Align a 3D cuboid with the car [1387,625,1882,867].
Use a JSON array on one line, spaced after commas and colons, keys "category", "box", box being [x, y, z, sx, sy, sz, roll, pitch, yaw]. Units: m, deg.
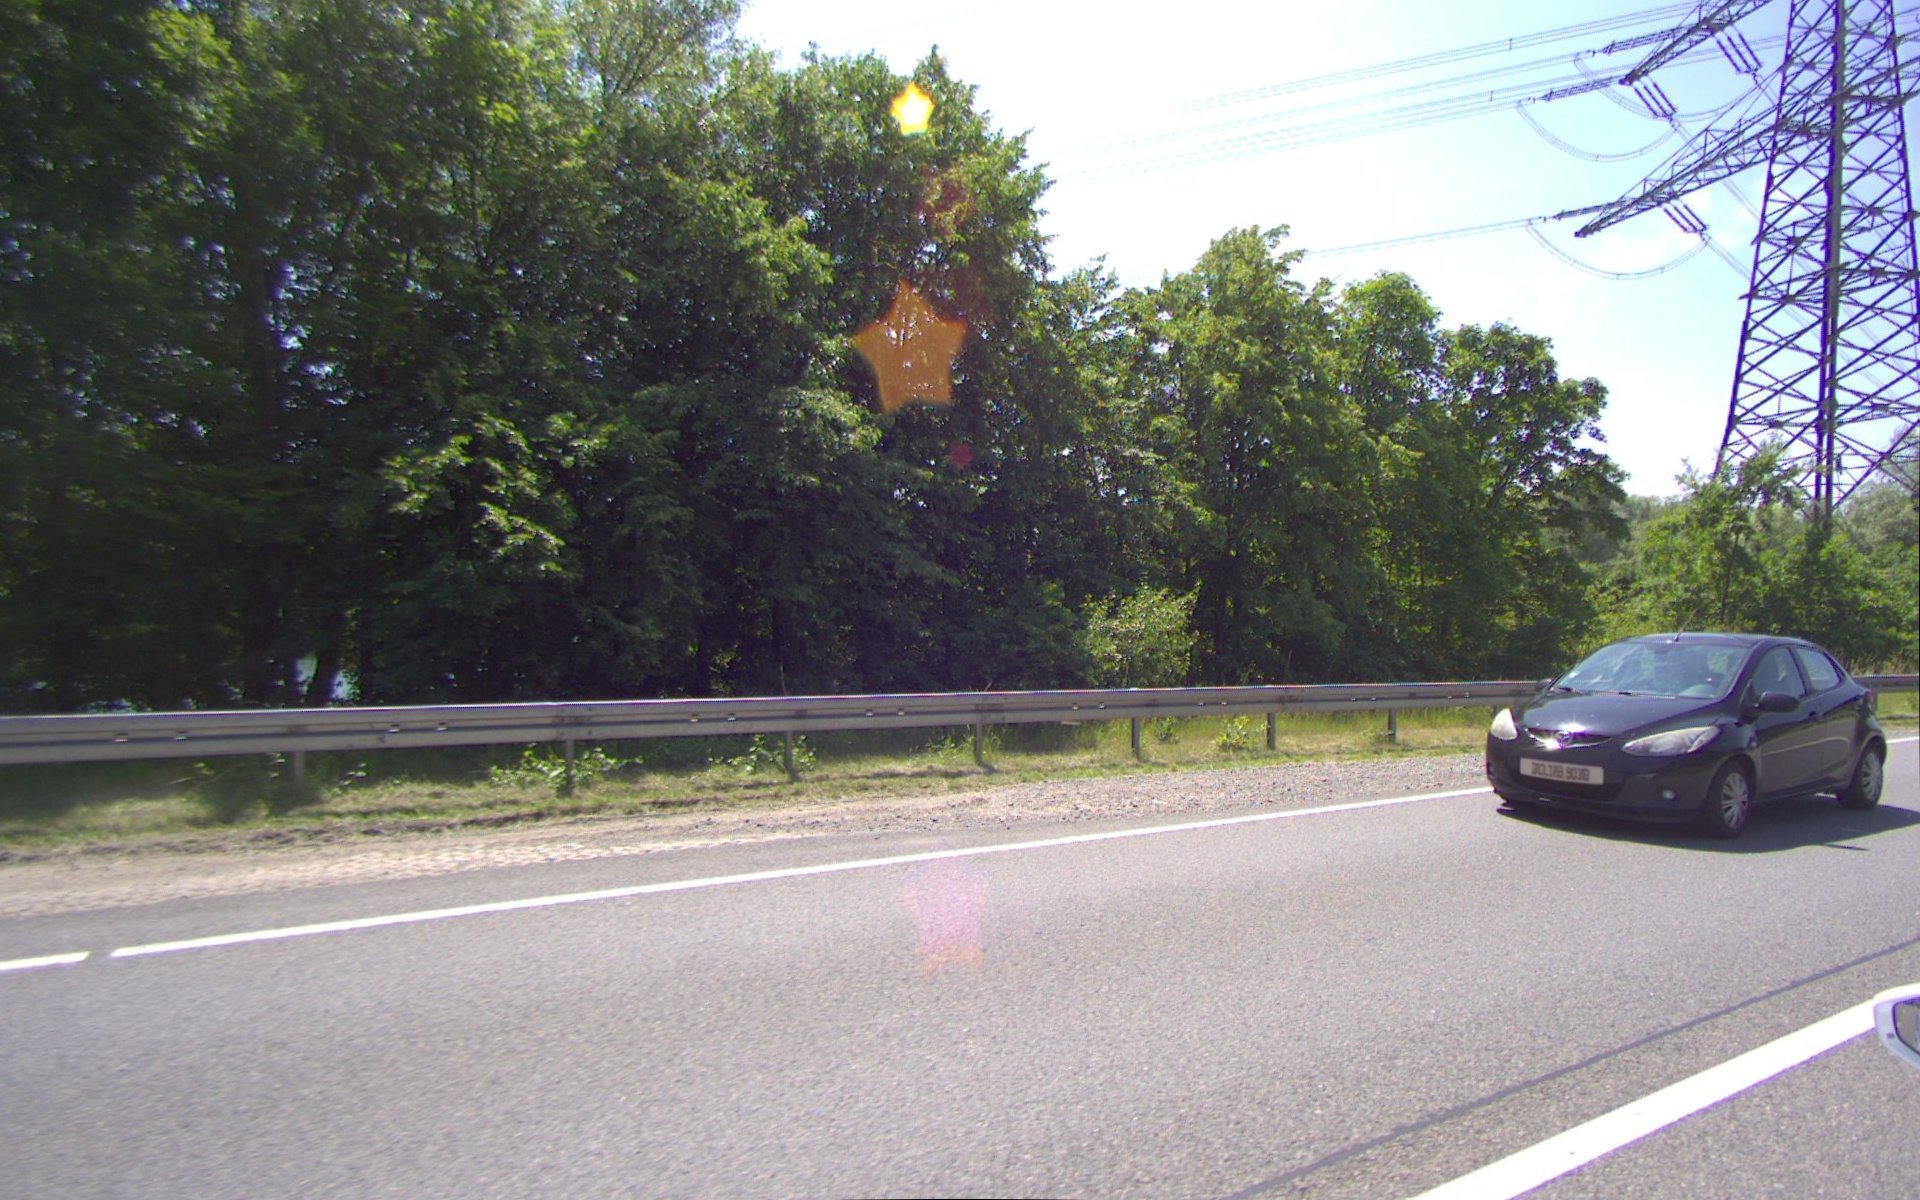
[{"category": "car", "box": [5.488, 0.963, 8.003, 4.365, 1.456, 1.625, 2, -1, -32]}]
